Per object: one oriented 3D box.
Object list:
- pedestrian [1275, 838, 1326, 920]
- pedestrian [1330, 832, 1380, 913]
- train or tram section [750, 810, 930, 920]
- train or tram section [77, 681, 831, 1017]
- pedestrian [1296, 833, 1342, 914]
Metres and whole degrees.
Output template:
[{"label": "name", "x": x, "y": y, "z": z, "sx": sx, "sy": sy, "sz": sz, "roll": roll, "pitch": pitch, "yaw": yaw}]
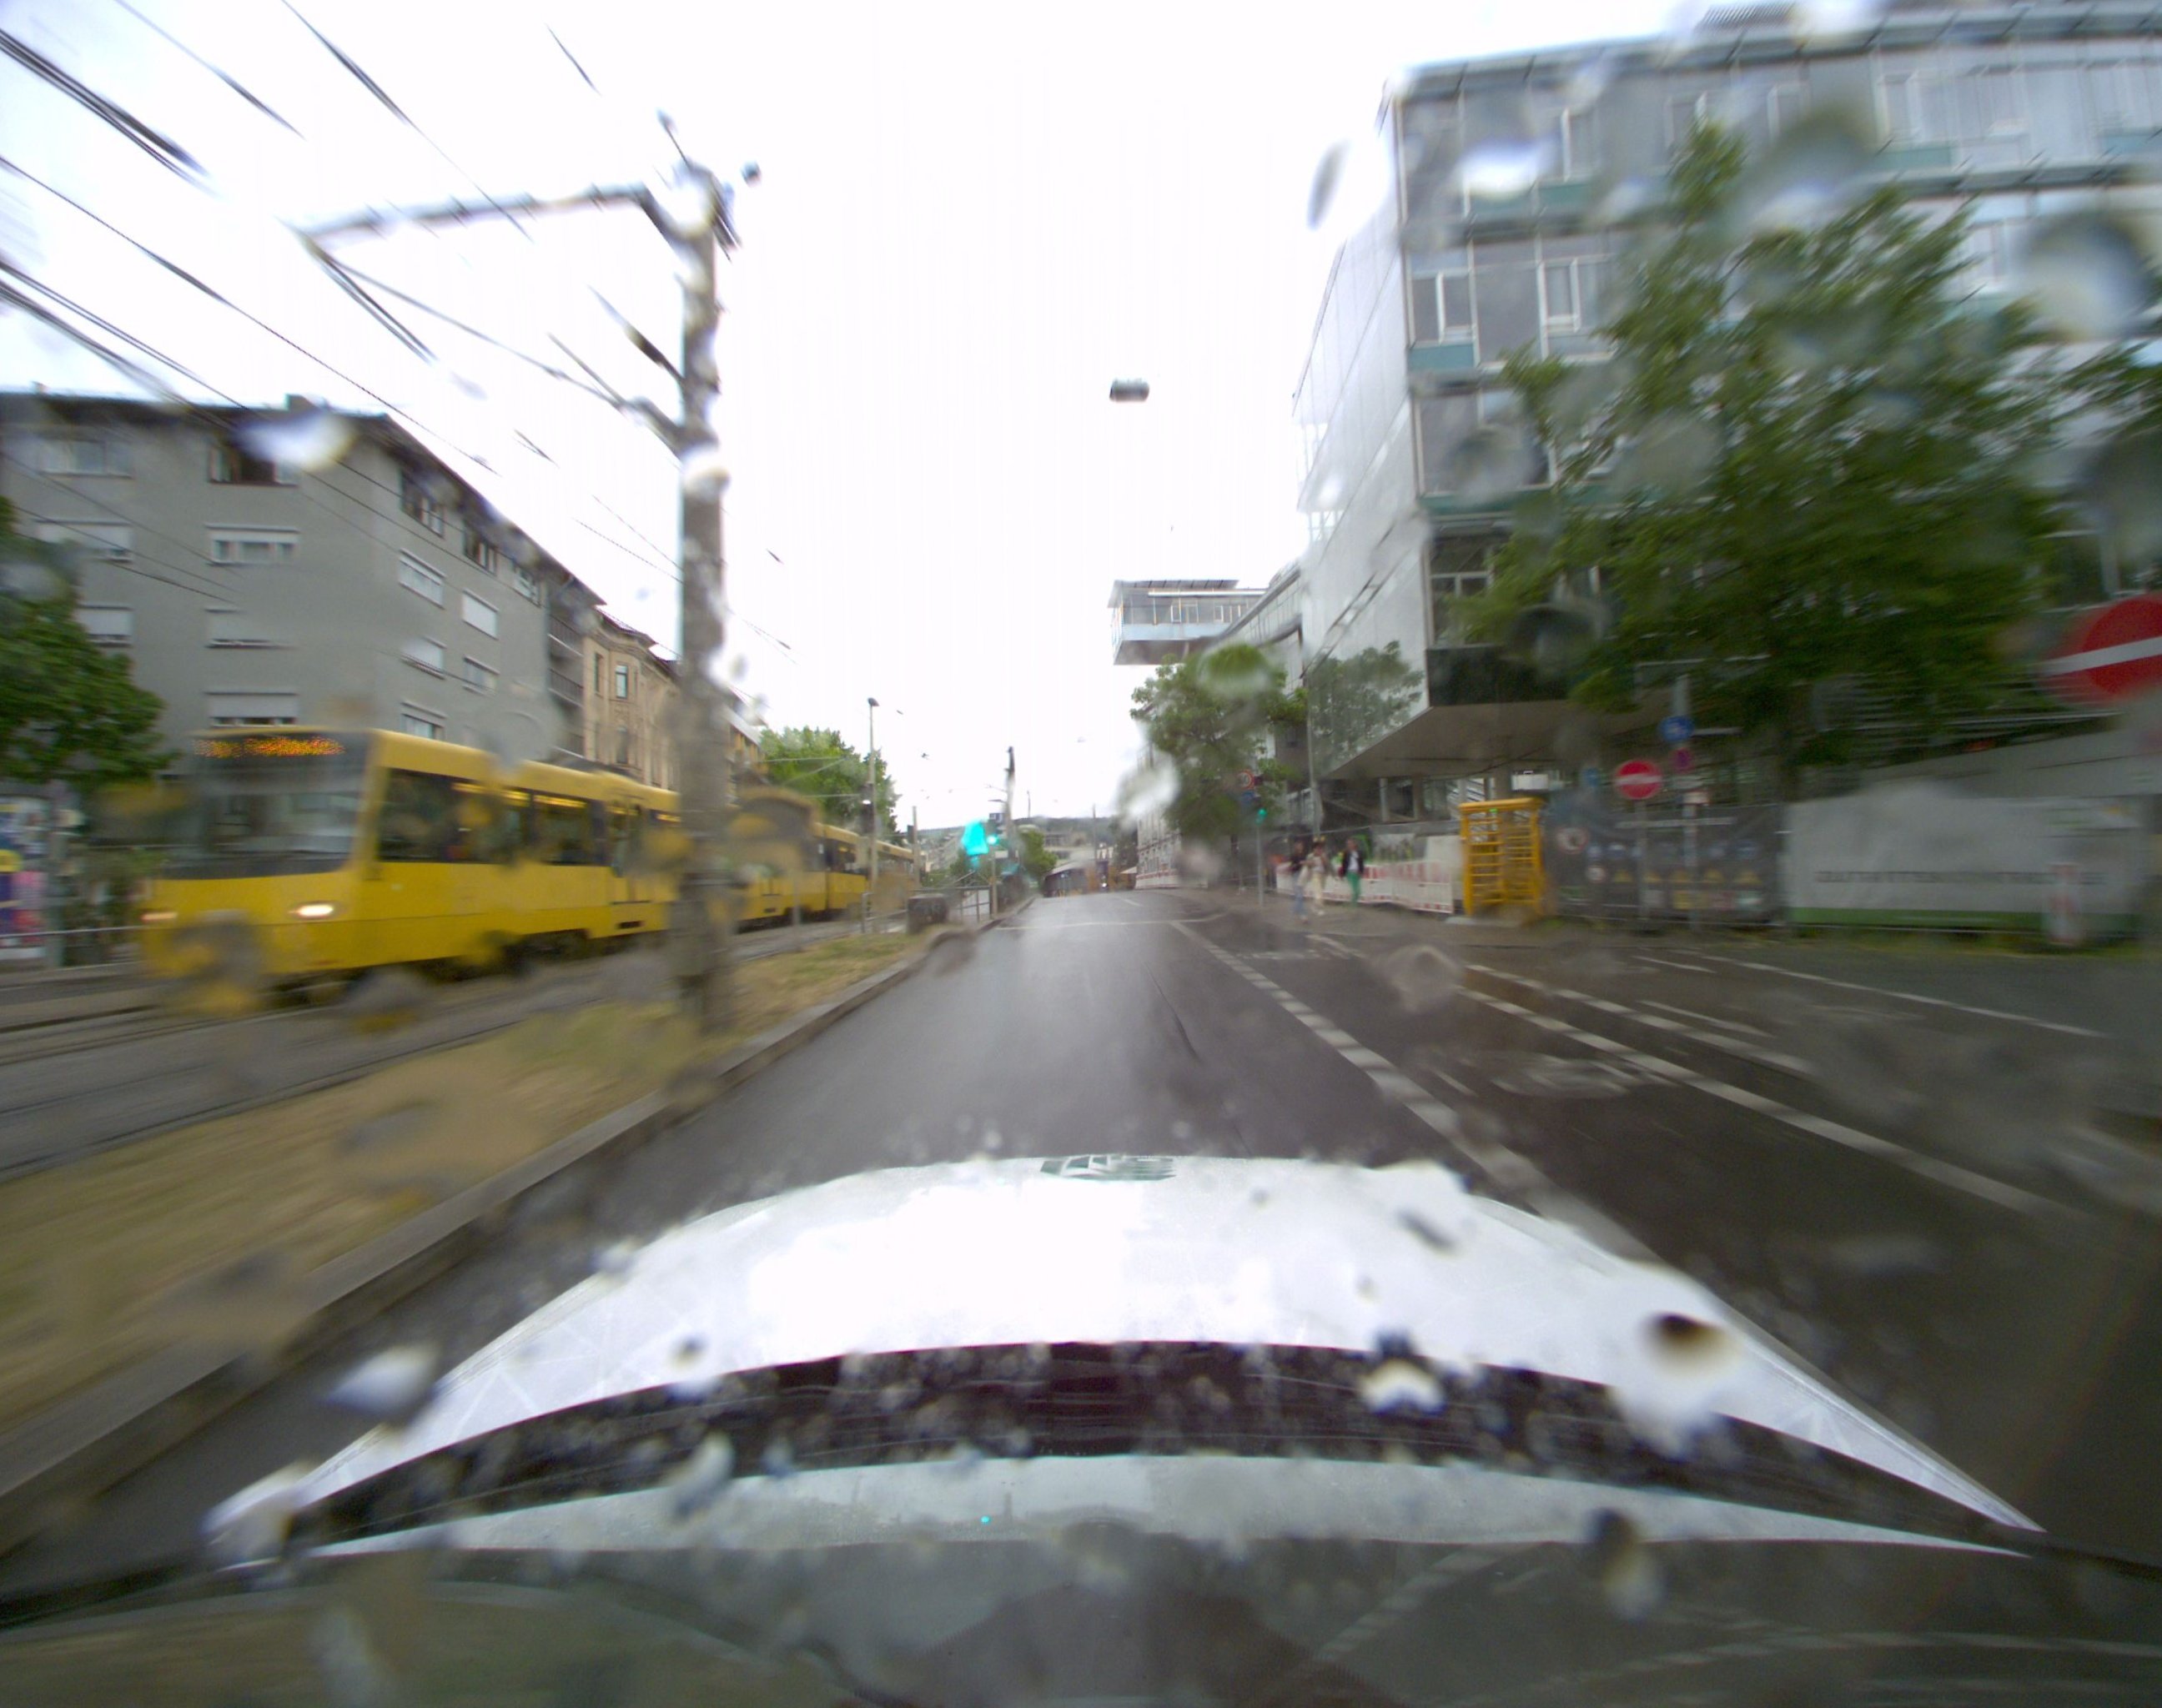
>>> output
[{"label": "pedestrian", "x": 4.838, "y": 0.531, "z": 17.991, "sx": 0.735, "sy": 1.729, "sz": 1.117, "roll": -2, "pitch": 0, "yaw": -2}, {"label": "pedestrian", "x": 6.306, "y": 0.414, "z": 18.817, "sx": 0.698, "sy": 1.785, "sz": 1.066, "roll": -2, "pitch": 0, "yaw": -2}, {"label": "train or tram section", "x": -10.108, "y": 0.592, "z": 37.657, "sx": 2.738, "sy": 3.697, "sz": 18.962, "roll": -2, "pitch": -1, "yaw": -1}, {"label": "train or tram section", "x": -9.995, "y": 0.148, "z": 18.677, "sx": 2.738, "sy": 3.697, "sz": 18.962, "roll": -2, "pitch": -1, "yaw": -1}, {"label": "pedestrian", "x": 5.565, "y": 0.439, "z": 19.102, "sx": 0.698, "sy": 1.815, "sz": 0.976, "roll": -2, "pitch": 0, "yaw": -2}]
